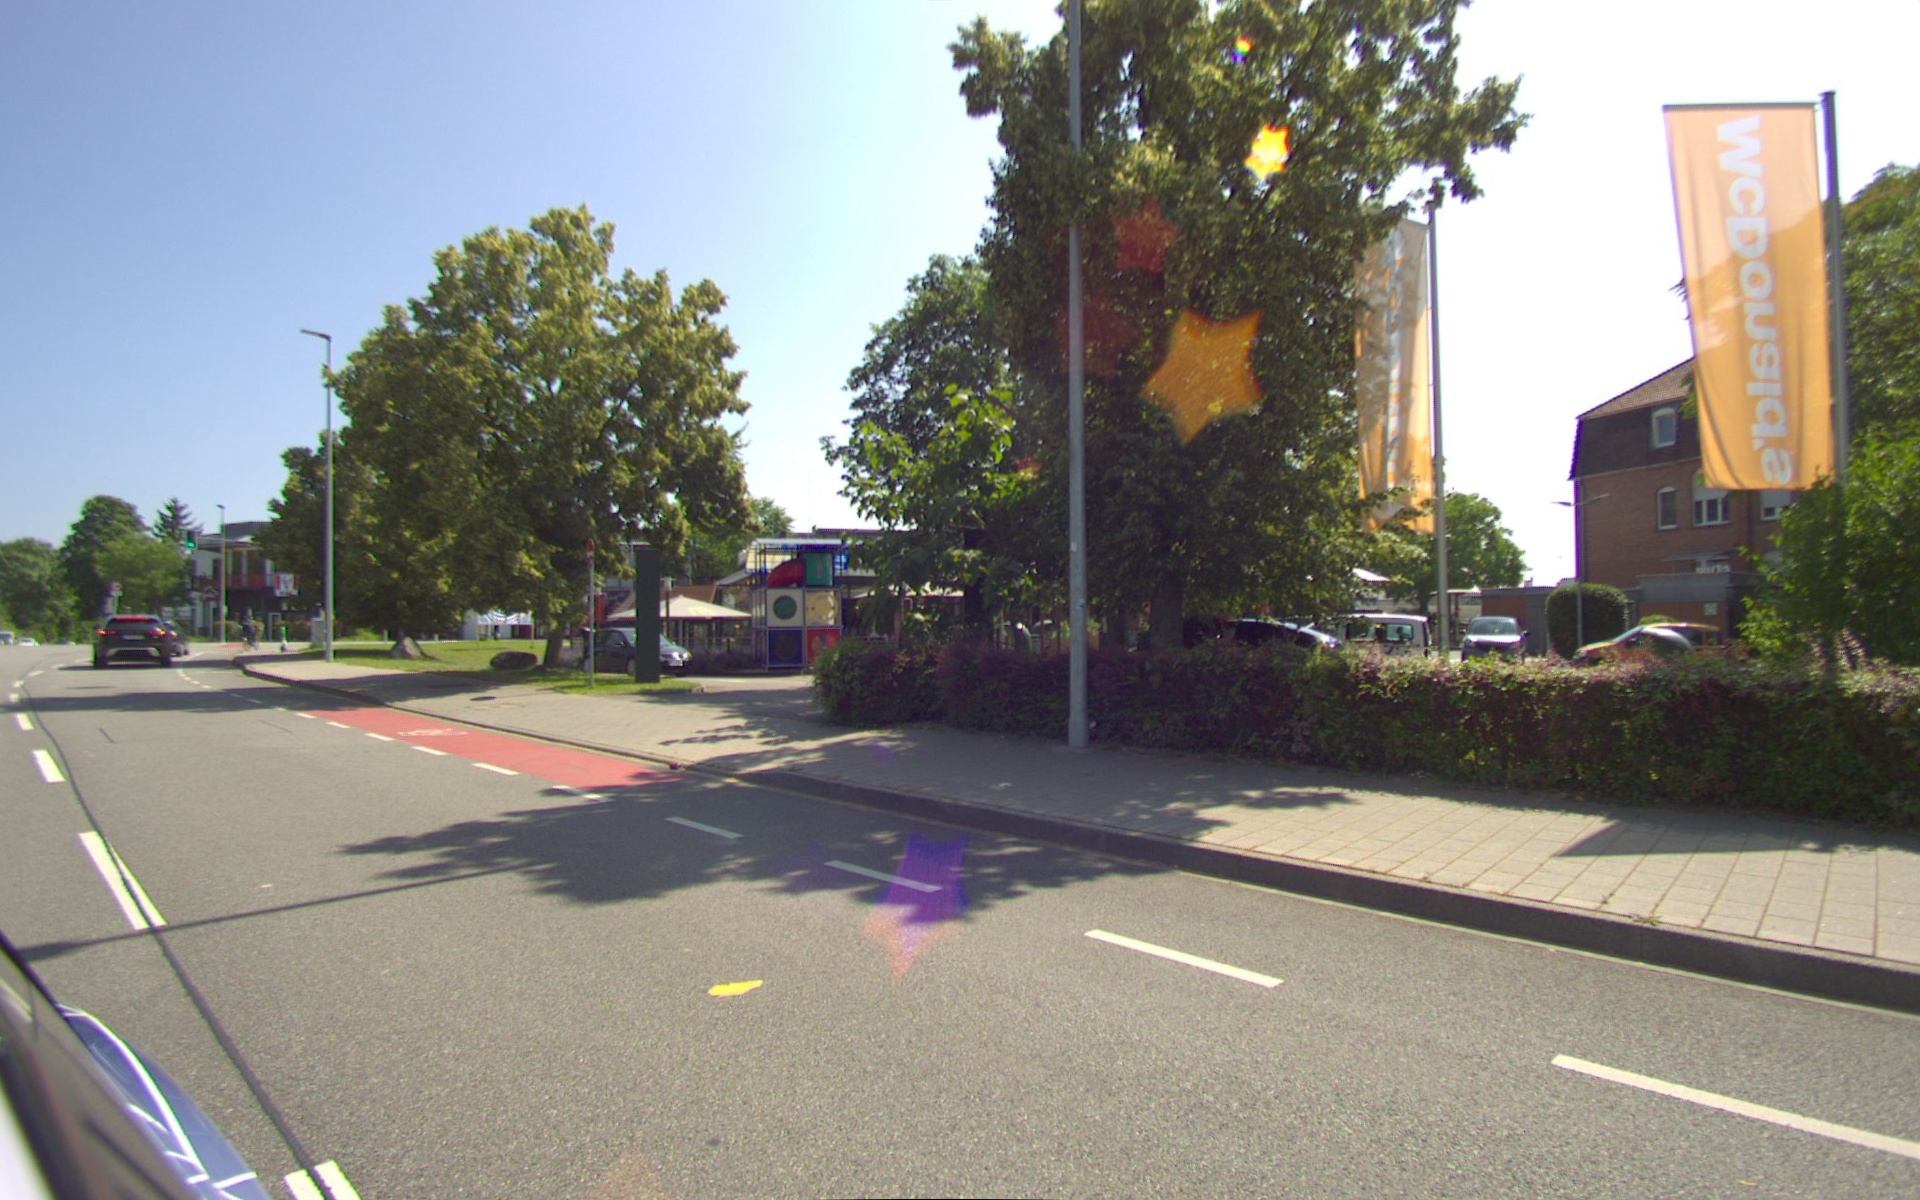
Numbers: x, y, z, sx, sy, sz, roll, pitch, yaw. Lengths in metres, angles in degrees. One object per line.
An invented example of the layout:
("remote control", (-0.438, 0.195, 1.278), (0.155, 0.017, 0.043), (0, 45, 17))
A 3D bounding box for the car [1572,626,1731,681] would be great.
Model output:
("car", (18.384, 1.411, 27.069), (3.331, 1.386, 1.575), (-1, -2, 30))

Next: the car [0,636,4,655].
("car", (-82.296, 3.864, 85.754), (1.647, 1.544, 4.006), (1, -2, -40))

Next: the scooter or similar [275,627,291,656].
("scooter or similar", (-28.149, 1.732, 42.101), (0.465, 1.193, 1.369), (1, -2, -30))

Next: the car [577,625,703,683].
("car", (-9.395, 1.530, 29.526), (1.838, 1.564, 4.191), (2, -3, -44))

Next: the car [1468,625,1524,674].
("car", (15.991, 1.443, 30.227), (1.389, 1.386, 3.313), (-1, -2, 28))

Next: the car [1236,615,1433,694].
("car", (8.848, 1.255, 24.061), (4.220, 1.748, 1.705), (-1, -2, 22))

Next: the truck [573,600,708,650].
("truck", (-22.815, 1.768, 72.330), (9.010, 3.412, 3.325), (0, -2, -20))

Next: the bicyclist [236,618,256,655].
("bicyclist", (-35.216, 1.778, 49.954), (0.700, 1.802, 0.811), (1, -2, -30))

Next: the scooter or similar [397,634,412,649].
("scooter or similar", (-40.485, 3.013, 73.804), (0.492, 1.132, 1.507), (0, -2, -10))

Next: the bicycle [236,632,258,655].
("bicycle", (-35.218, 2.159, 50.010), (0.687, 1.113, 1.760), (3, -3, -30))

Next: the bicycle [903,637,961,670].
("bicycle", (-0.880, 1.697, 32.202), (1.827, 1.000, 0.309), (0, -2, -17))

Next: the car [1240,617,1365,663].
("car", (13.282, 1.532, 39.305), (4.332, 1.697, 1.757), (-1, -2, 30))

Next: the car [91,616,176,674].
("car", (-26.129, 1.389, 32.033), (1.925, 1.708, 4.621), (1, -2, -39))

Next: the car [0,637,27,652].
("car", (-88.360, 4.165, 94.426), (1.647, 1.327, 4.006), (1, -2, -40))

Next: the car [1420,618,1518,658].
("car", (29.211, 2.168, 58.233), (1.965, 2.194, 4.819), (1, -2, -24))
